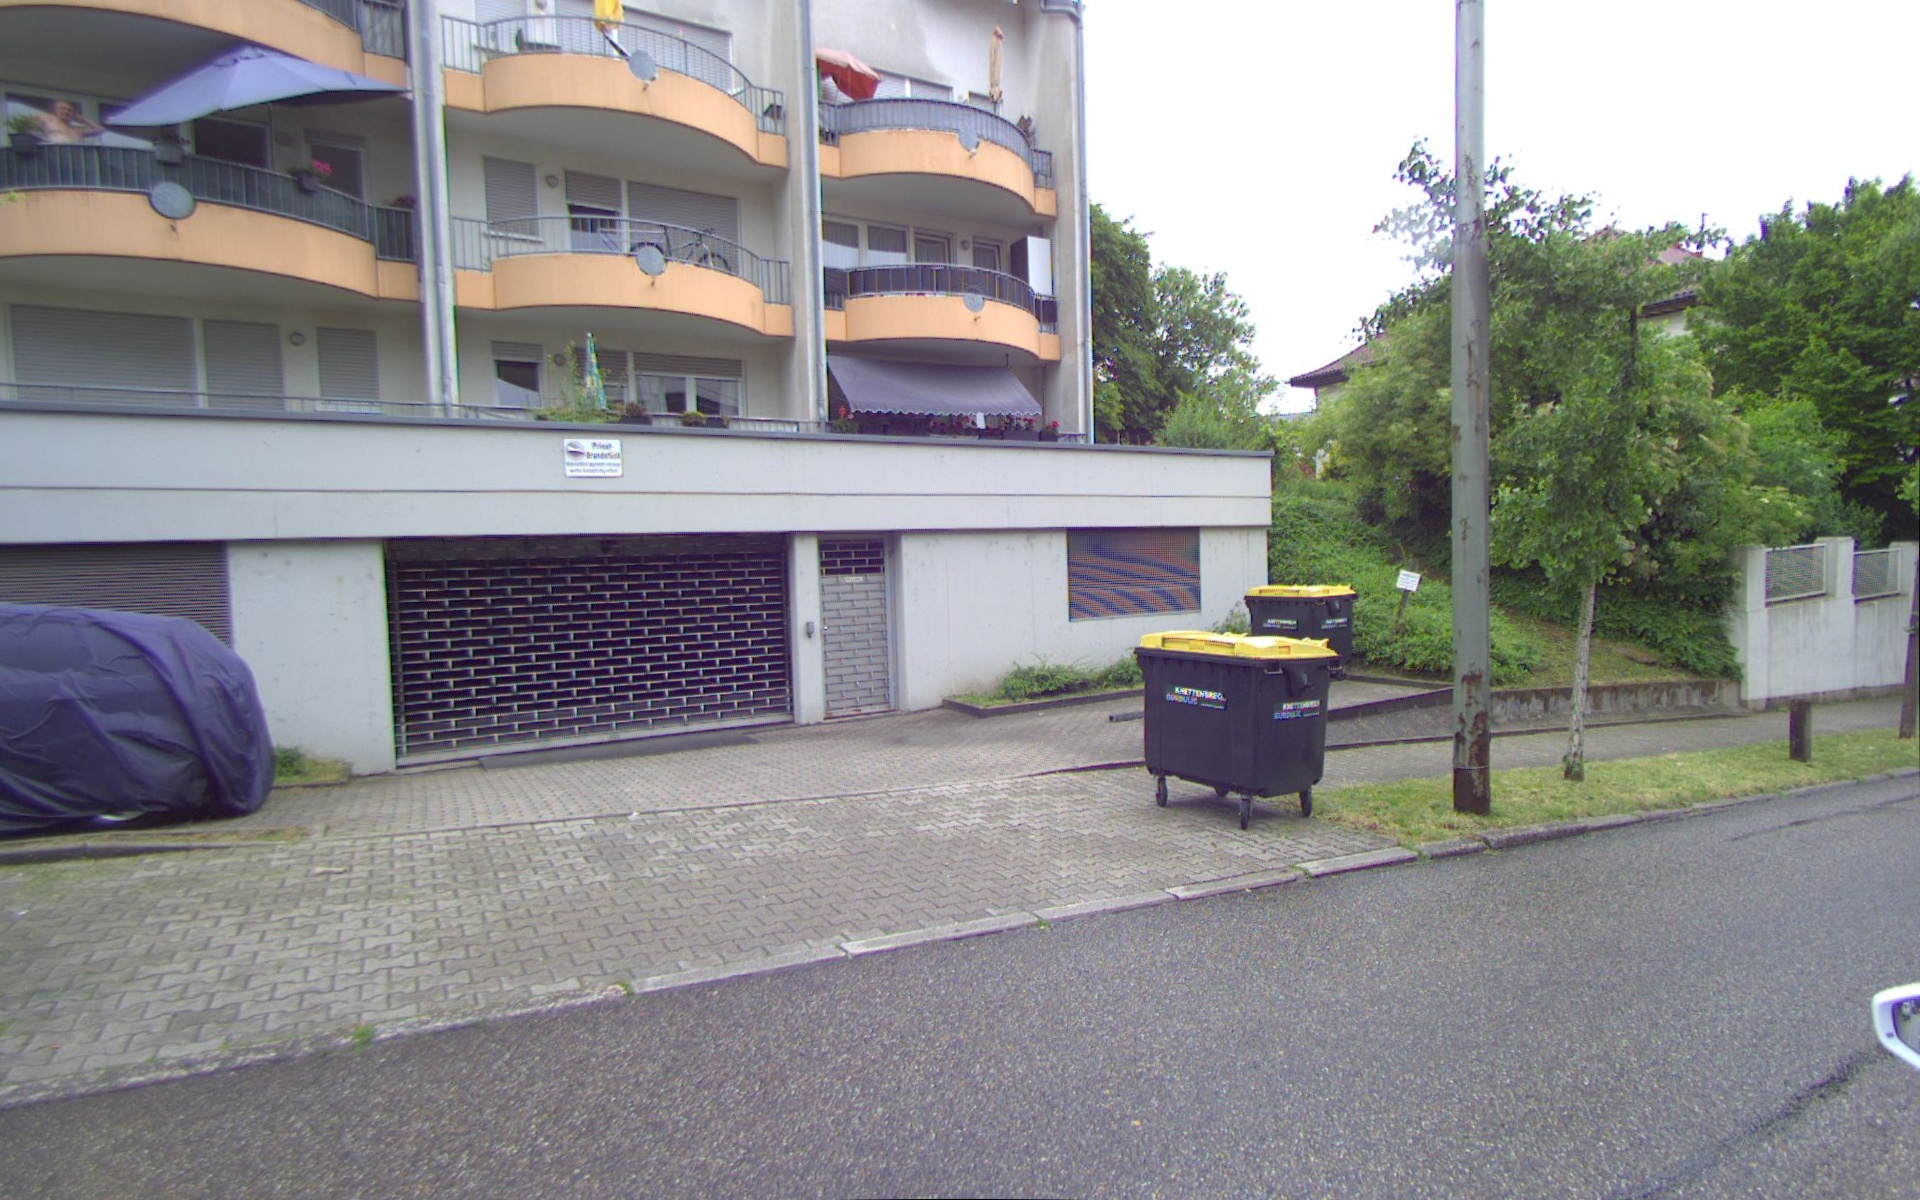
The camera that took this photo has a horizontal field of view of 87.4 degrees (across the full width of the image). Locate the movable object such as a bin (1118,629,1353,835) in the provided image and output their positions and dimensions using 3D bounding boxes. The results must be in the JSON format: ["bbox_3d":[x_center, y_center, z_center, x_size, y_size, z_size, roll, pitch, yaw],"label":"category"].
[{"bbox_3d":[2.085,0.919,7.672,1.145,1.324,1.288,0,1,-38],"label":"movable object such as a bin"}]

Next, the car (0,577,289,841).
[{"bbox_3d":[-6.820,0.688,6.434,4.050,1.581,1.770,1,-4,-31],"label":"car"}]

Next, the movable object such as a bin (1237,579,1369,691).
[{"bbox_3d":[4.839,0.444,14.198,1.215,1.383,1.288,-7,6,-36],"label":"movable object such as a bin"}]
